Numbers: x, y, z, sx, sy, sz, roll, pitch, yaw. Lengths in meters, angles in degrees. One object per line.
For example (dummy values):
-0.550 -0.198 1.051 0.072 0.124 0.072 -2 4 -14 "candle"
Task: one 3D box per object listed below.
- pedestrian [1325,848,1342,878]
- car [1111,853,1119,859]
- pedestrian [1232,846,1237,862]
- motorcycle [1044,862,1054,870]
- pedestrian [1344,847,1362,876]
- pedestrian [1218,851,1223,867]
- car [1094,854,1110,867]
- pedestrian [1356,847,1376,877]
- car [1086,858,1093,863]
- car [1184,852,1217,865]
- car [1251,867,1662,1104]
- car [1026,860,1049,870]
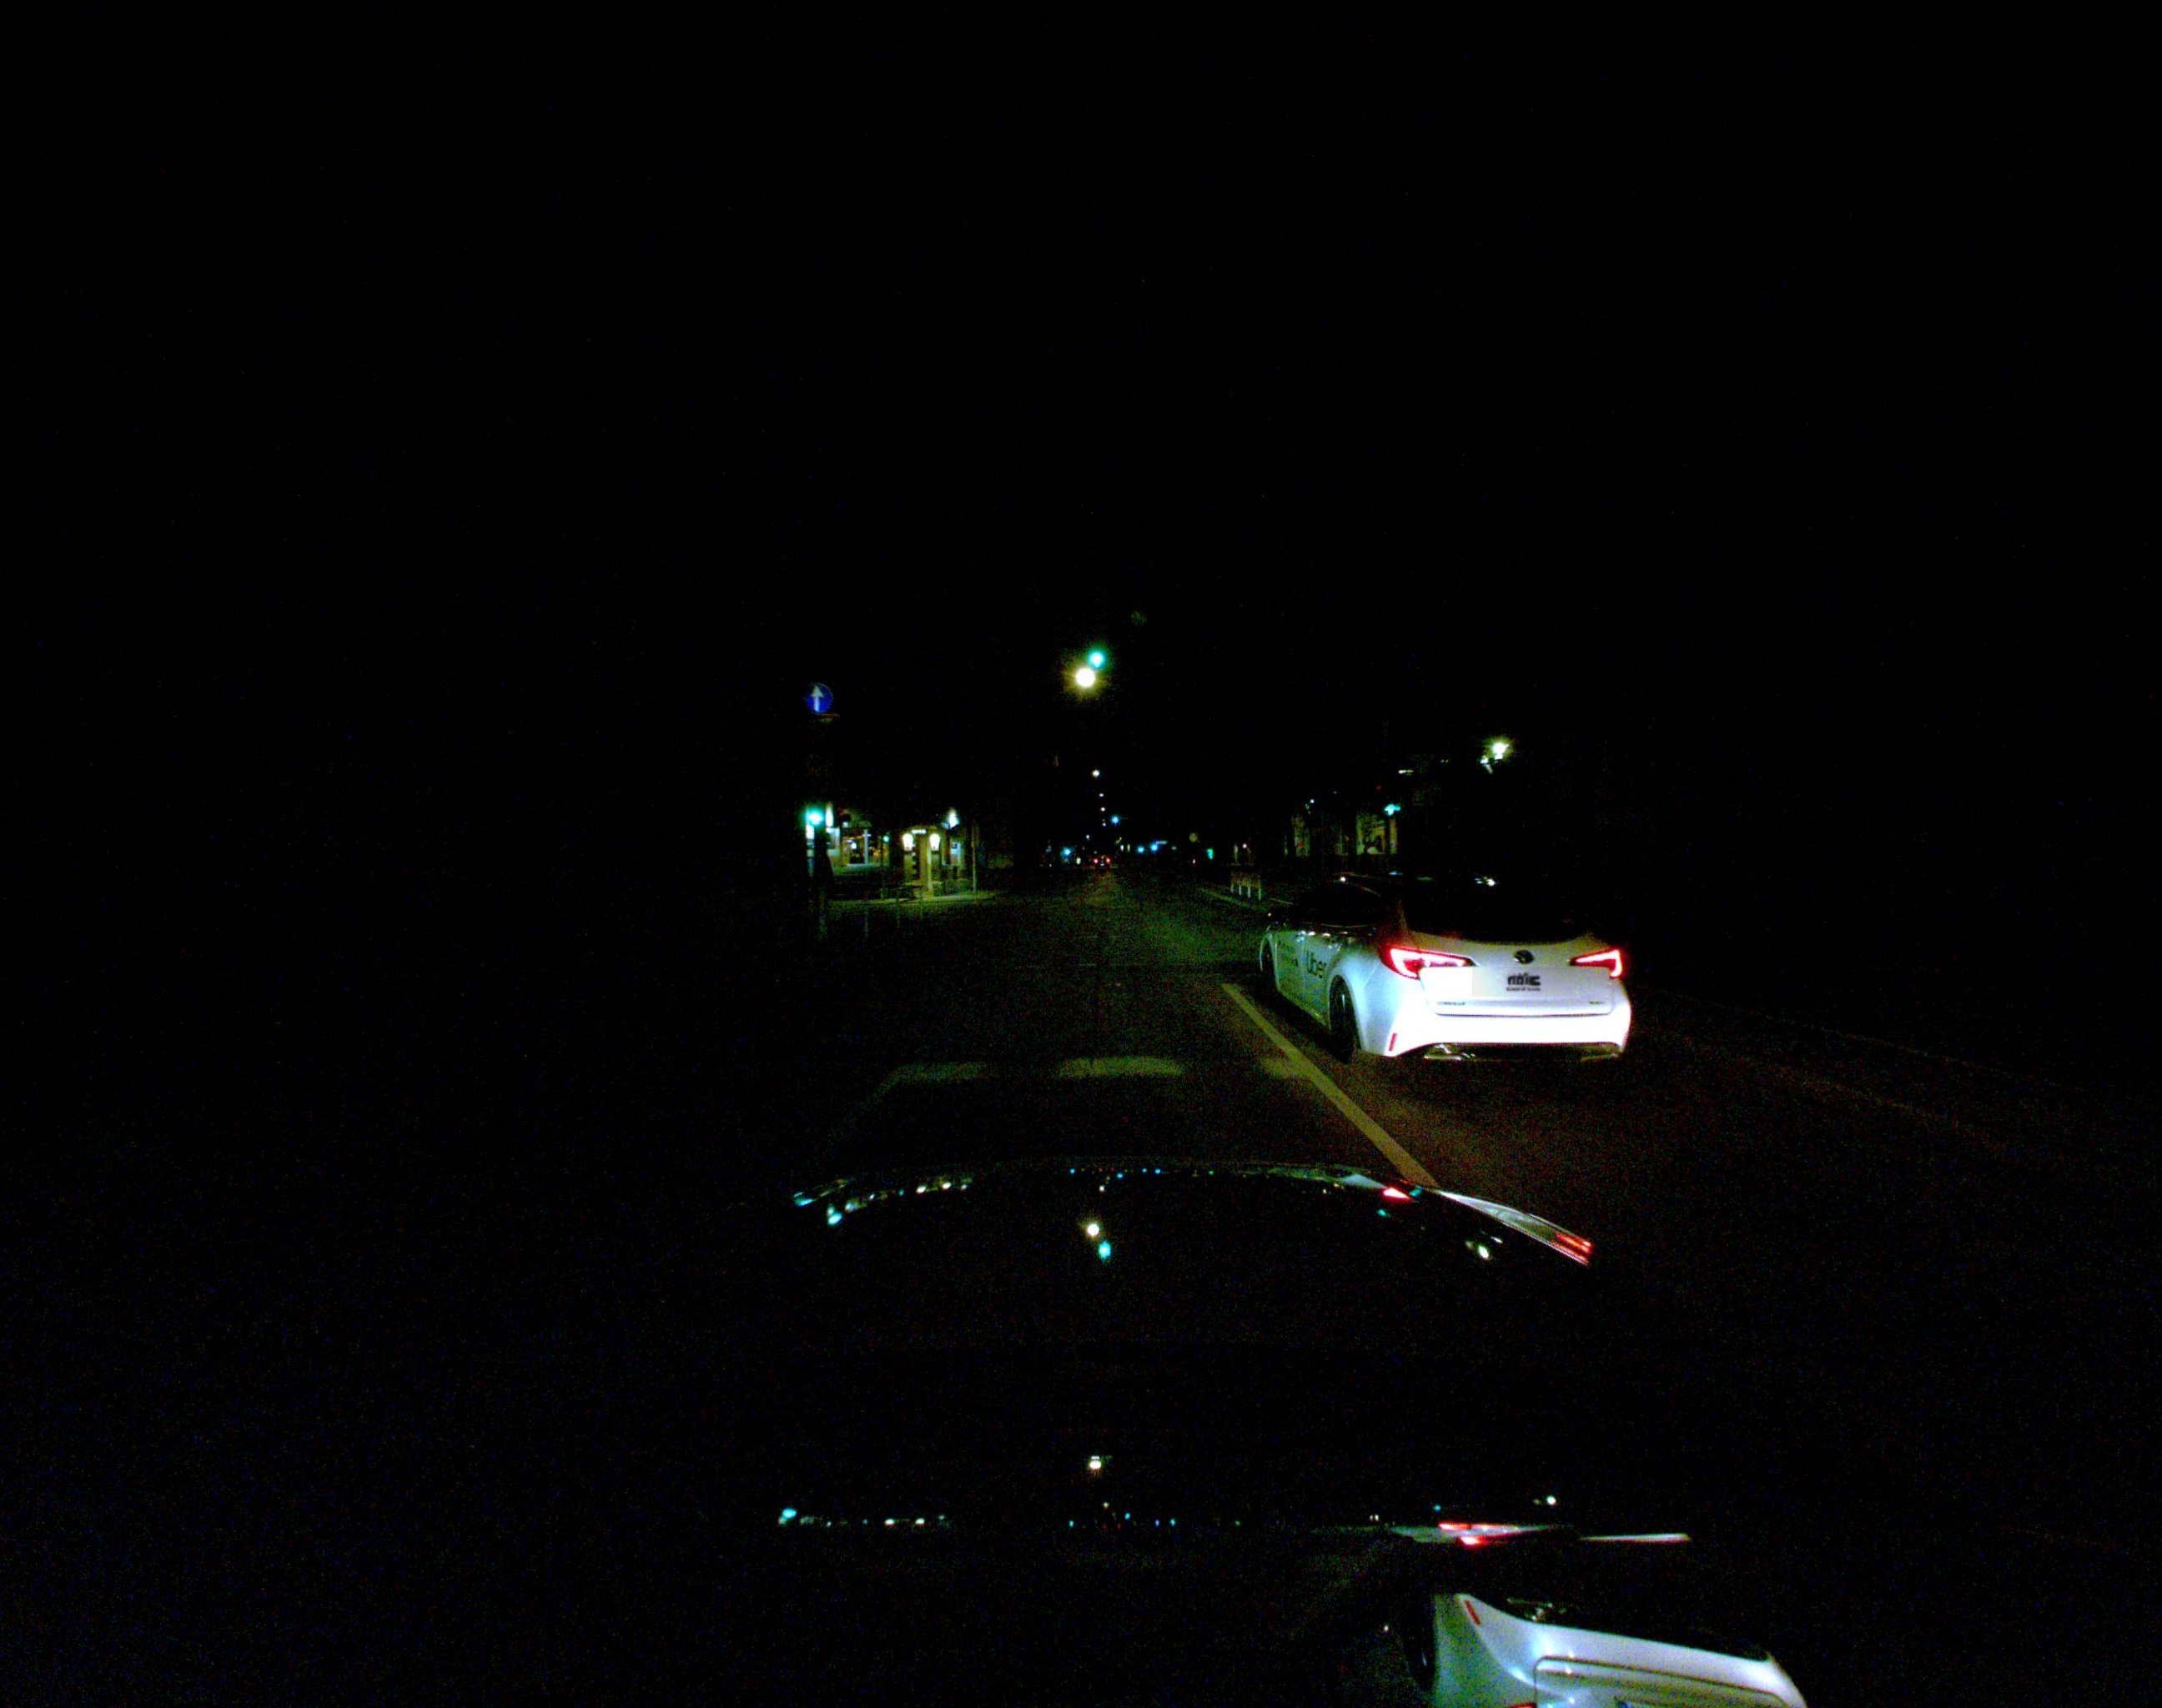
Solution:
15.551 0.561 50.255 0.711 1.769 0.907 -2 -1 1 "pedestrian"
9.397 0.511 228.232 1.988 1.596 3.998 -2 0 -1 "car"
20.623 0.009 109.543 0.486 2.014 0.551 -2 -1 1 "pedestrian"
-4.749 1.785 120.048 0.783 1.204 2.435 -2 0 -17 "motorcycle"
16.735 0.468 50.158 0.736 1.769 0.907 -2 -1 1 "pedestrian"
18.659 0.659 108.697 0.529 2.014 0.670 -2 -1 1 "pedestrian"
2.765 0.890 107.574 1.987 1.640 3.999 -2 -1 0 "car"
17.710 0.499 50.603 0.897 1.769 0.907 -2 -1 1 "pedestrian"
2.136 1.672 213.286 1.772 1.390 3.999 -2 0 0 "car"
14.749 0.540 100.770 3.969 1.386 1.773 -2 0 4 "car"
2.777 0.849 7.175 1.723 1.435 4.210 0 0 0 "car"
-6.597 1.692 122.912 1.815 1.486 3.961 -2 0 -30 "car"
